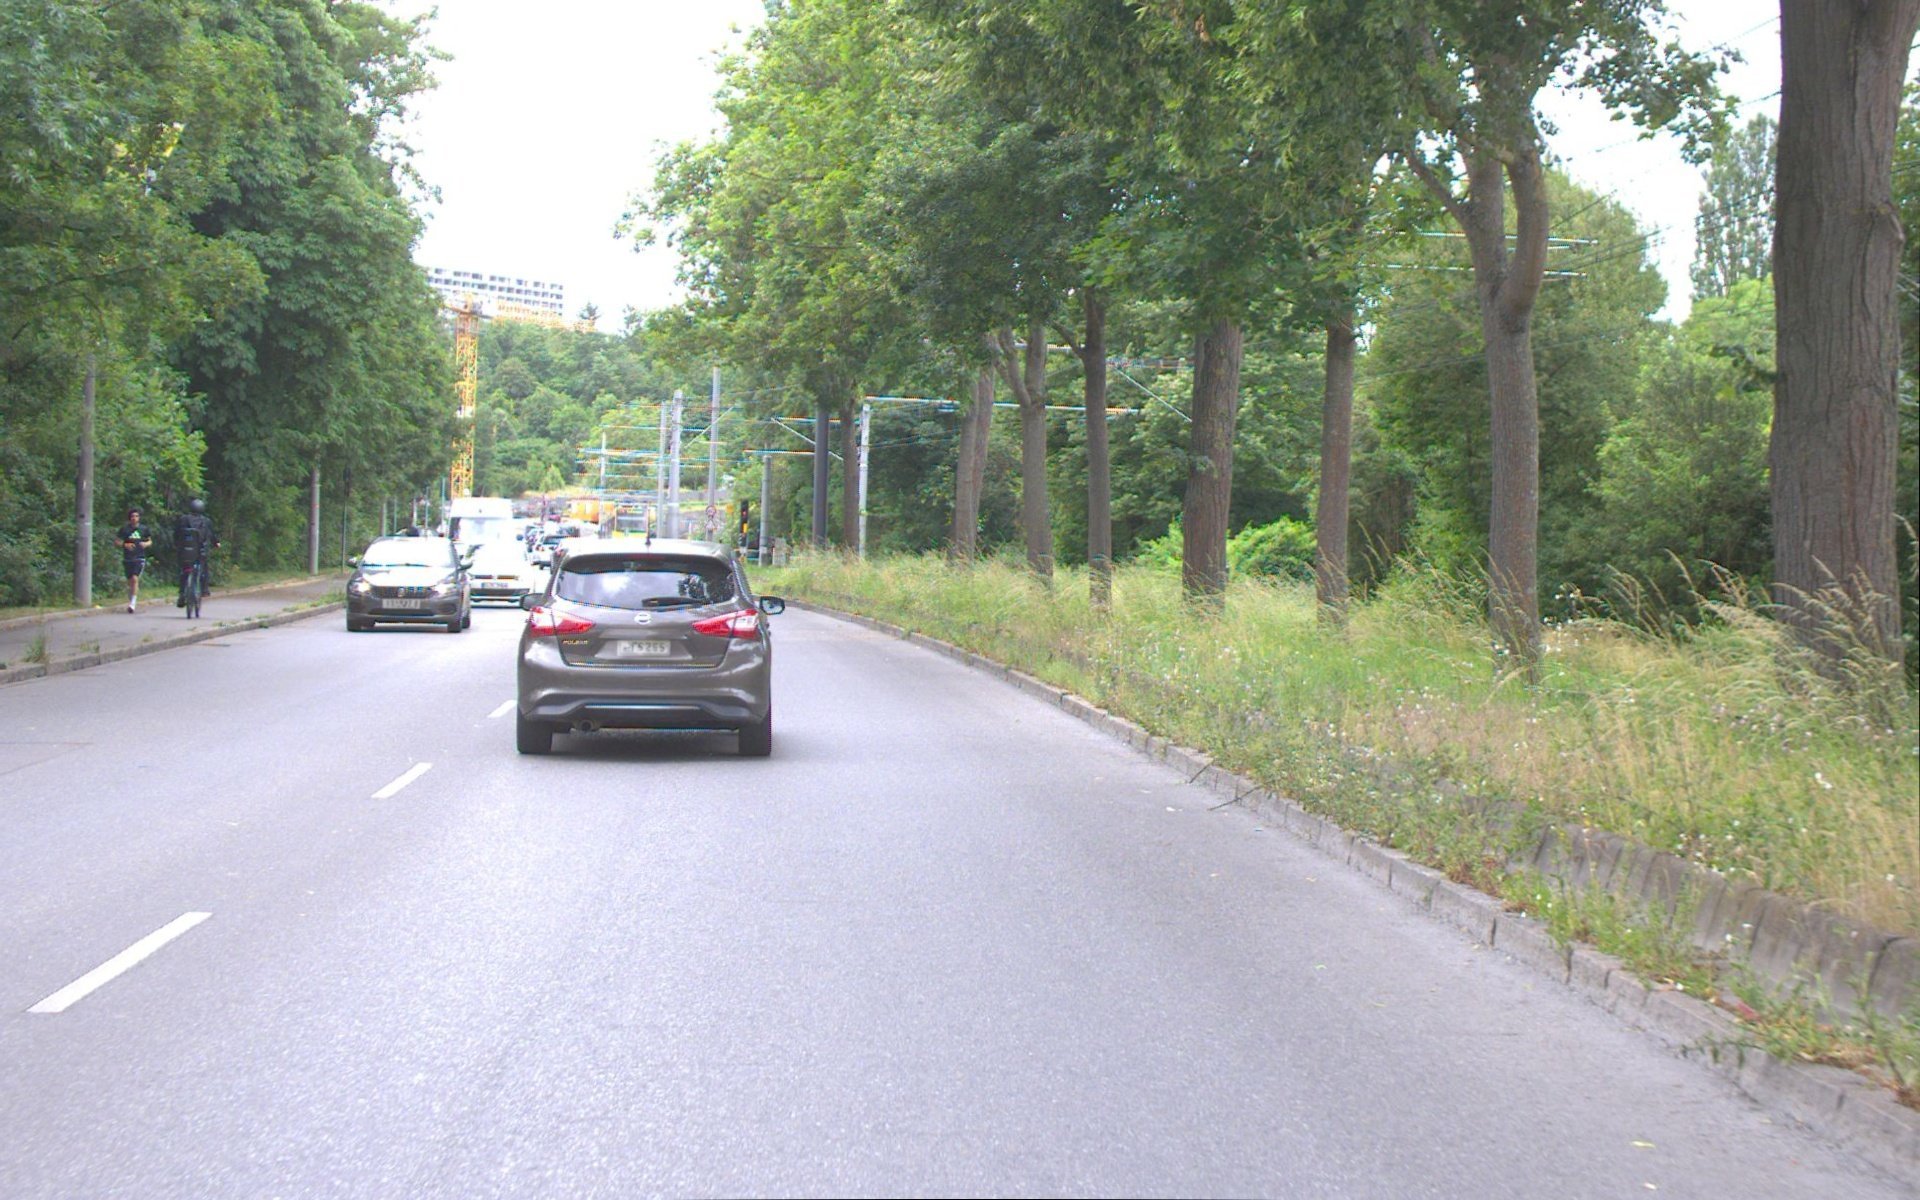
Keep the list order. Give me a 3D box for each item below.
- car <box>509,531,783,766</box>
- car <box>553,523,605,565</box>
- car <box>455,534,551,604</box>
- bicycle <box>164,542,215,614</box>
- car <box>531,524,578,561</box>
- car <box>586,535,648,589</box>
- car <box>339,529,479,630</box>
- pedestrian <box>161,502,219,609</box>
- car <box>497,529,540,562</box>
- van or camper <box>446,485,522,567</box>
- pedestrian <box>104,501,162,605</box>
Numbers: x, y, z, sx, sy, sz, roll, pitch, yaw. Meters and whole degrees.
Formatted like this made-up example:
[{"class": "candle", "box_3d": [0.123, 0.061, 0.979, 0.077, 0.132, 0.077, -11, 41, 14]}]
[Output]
[{"class": "car", "box_3d": [-2.275, 0.292, 25.121, 1.816, 1.503, 4.001, 1, 2, -5]}, {"class": "car", "box_3d": [-15.012, -2.210, 135.574, 1.775, 1.467, 4.001, 4, 2, -4]}, {"class": "car", "box_3d": [-9.713, -0.685, 73.265, 1.724, 1.326, 3.476, 2, 2, -3]}, {"class": "bicycle", "box_3d": [-11.710, -0.339, 52.257, 0.488, 1.027, 1.124, 4, 2, -1]}, {"class": "car", "box_3d": [-17.620, -2.521, 149.489, 1.775, 1.467, 4.001, 2, 2, -4]}, {"class": "car", "box_3d": [-10.614, -1.182, 106.680, 1.775, 1.467, 4.001, 3, 2, -5]}, {"class": "car", "box_3d": [-8.706, -0.352, 54.608, 1.749, 1.459, 3.921, 3, 1, -3]}, {"class": "pedestrian", "box_3d": [-11.714, -0.682, 52.340, 0.617, 1.566, 0.849, 4, 2, -1]}, {"class": "car", "box_3d": [-22.081, -2.738, 172.119, 1.775, 1.467, 4.001, 4, 2, -4]}, {"class": "van or camper", "box_3d": [-13.390, -2.106, 96.857, 1.925, 2.143, 3.933, 3, 2, -7]}, {"class": "pedestrian", "box_3d": [-13.301, -0.755, 55.315, 0.695, 1.616, 0.684, 4, 2, -2]}]
